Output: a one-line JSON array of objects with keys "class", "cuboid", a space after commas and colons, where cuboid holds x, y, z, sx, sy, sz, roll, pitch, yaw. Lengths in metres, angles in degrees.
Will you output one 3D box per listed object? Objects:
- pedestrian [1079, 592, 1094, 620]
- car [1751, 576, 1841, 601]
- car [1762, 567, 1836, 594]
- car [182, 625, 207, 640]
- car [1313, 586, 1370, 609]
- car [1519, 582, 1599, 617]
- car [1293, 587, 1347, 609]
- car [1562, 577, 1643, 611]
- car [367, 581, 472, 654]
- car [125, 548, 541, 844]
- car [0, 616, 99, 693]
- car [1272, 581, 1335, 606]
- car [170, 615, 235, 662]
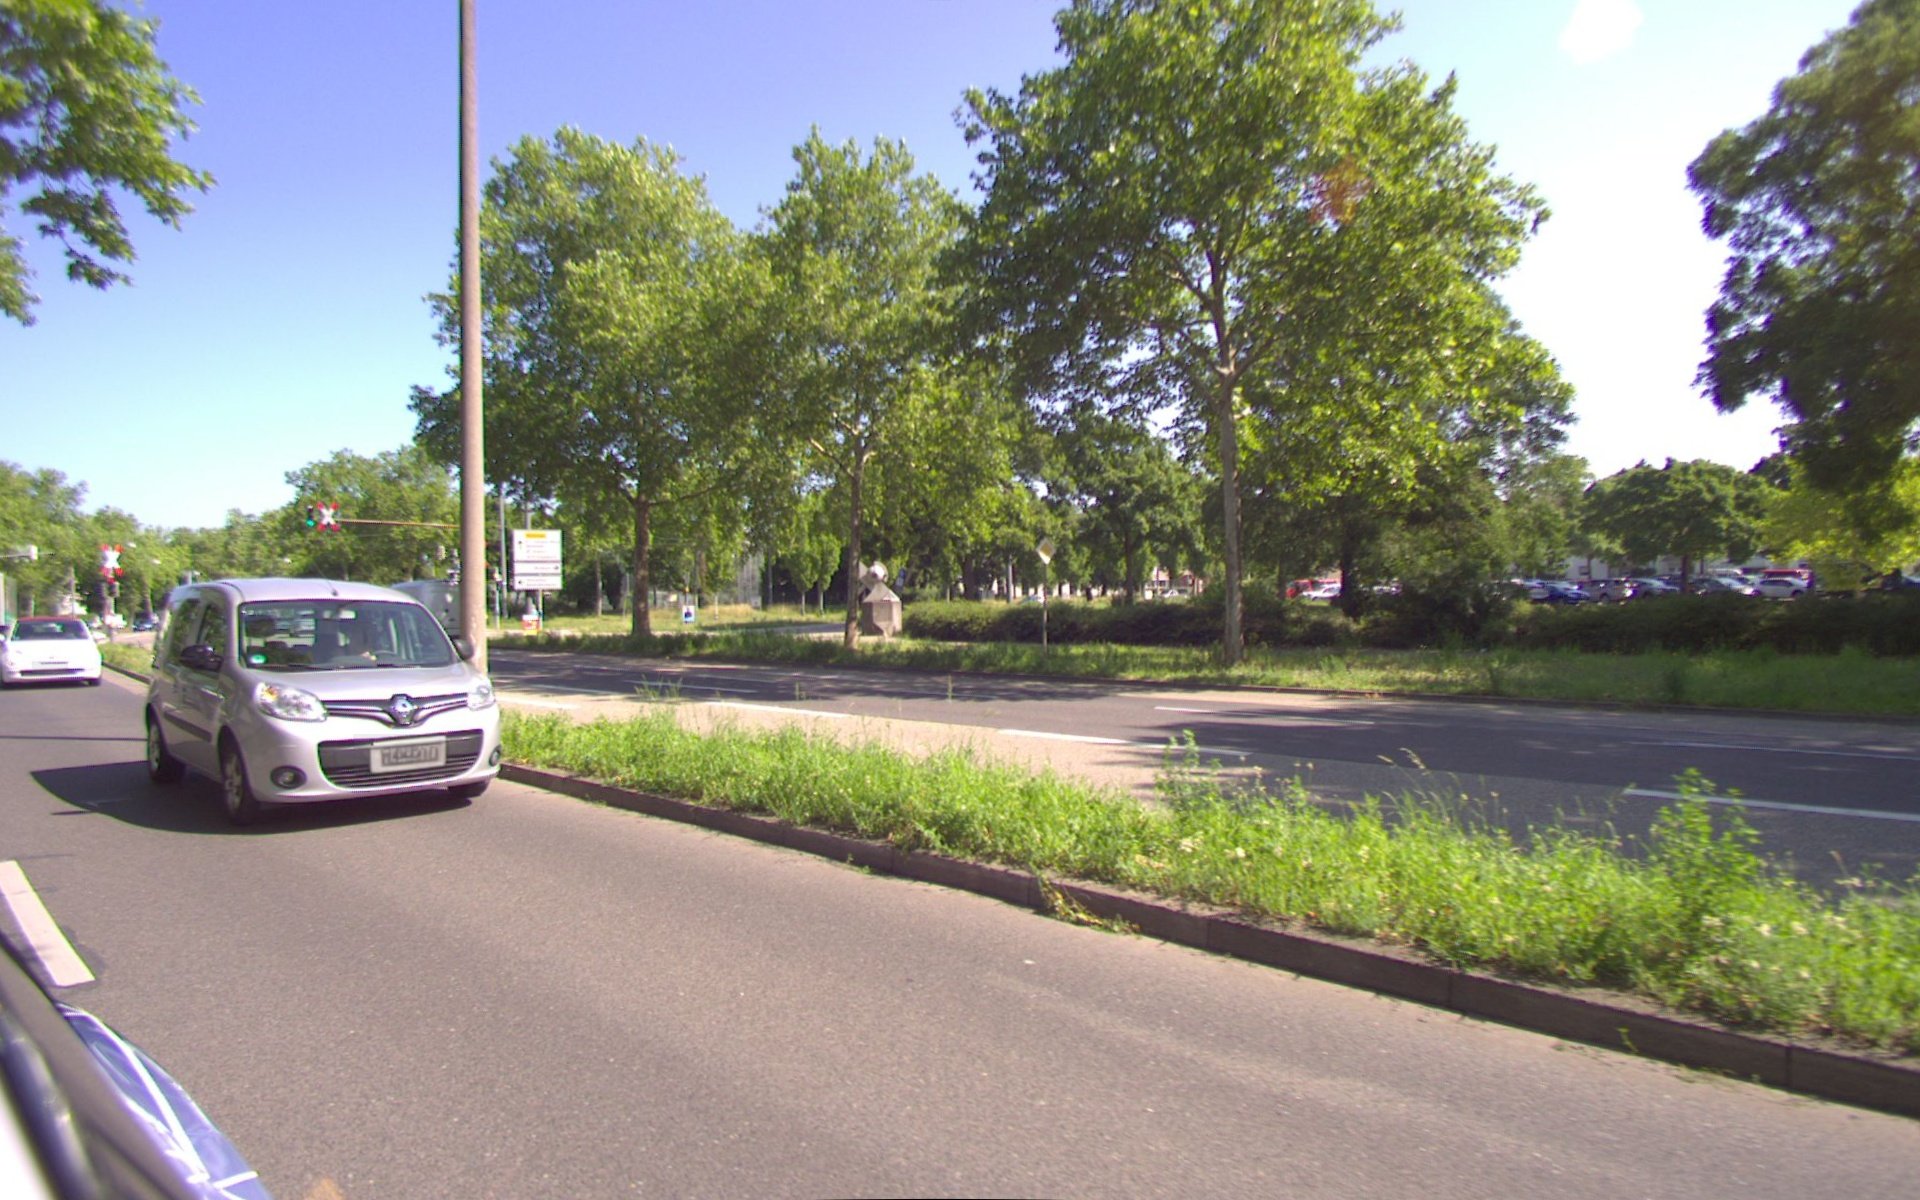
[{"class": "pedestrian", "cuboid": [9.033, 0.424, 72.269, 0.784, 2.029, 0.712, -1, -1, -45]}, {"class": "car", "cuboid": [52.871, -0.710, 64.075, 1.786, 1.502, 4.012, -1, 0, -18]}, {"class": "car", "cuboid": [62.549, -1.443, 75.546, 1.740, 1.853, 3.940, -1, 0, -15]}, {"class": "car", "cuboid": [-111.273, 4.759, 147.226, 1.965, 2.029, 4.013, -2, 0, -23]}, {"class": "car", "cuboid": [25.906, -0.147, 68.819, 3.287, 1.457, 1.451, -2, 0, -10]}, {"class": "car", "cuboid": [36.400, -0.006, 61.581, 1.787, 2.029, 4.011, -1, 0, -15]}, {"class": "car", "cuboid": [25.341, -0.137, 71.261, 3.287, 1.457, 1.352, -2, 0, -10]}, {"class": "car", "cuboid": [39.659, -0.340, 62.605, 1.787, 2.029, 4.011, -1, 0, -15]}, {"class": "car", "cuboid": [-21.542, 0.699, 40.112, 2.035, 2.633, 7.226, 0, -1, -42]}, {"class": "car", "cuboid": [-5.439, 0.660, 8.527, 4.375, 1.854, 1.852, -1, -2, 43]}, {"class": "car", "cuboid": [-20.047, 1.154, 22.116, 1.665, 1.502, 4.379, 0, -2, -43]}, {"class": "car", "cuboid": [25.276, -0.444, 74.540, 3.923, 1.715, 1.819, -2, 0, -10]}, {"class": "car", "cuboid": [-26.912, 1.332, 35.913, 1.672, 1.519, 4.137, -1, 0, -39]}]
